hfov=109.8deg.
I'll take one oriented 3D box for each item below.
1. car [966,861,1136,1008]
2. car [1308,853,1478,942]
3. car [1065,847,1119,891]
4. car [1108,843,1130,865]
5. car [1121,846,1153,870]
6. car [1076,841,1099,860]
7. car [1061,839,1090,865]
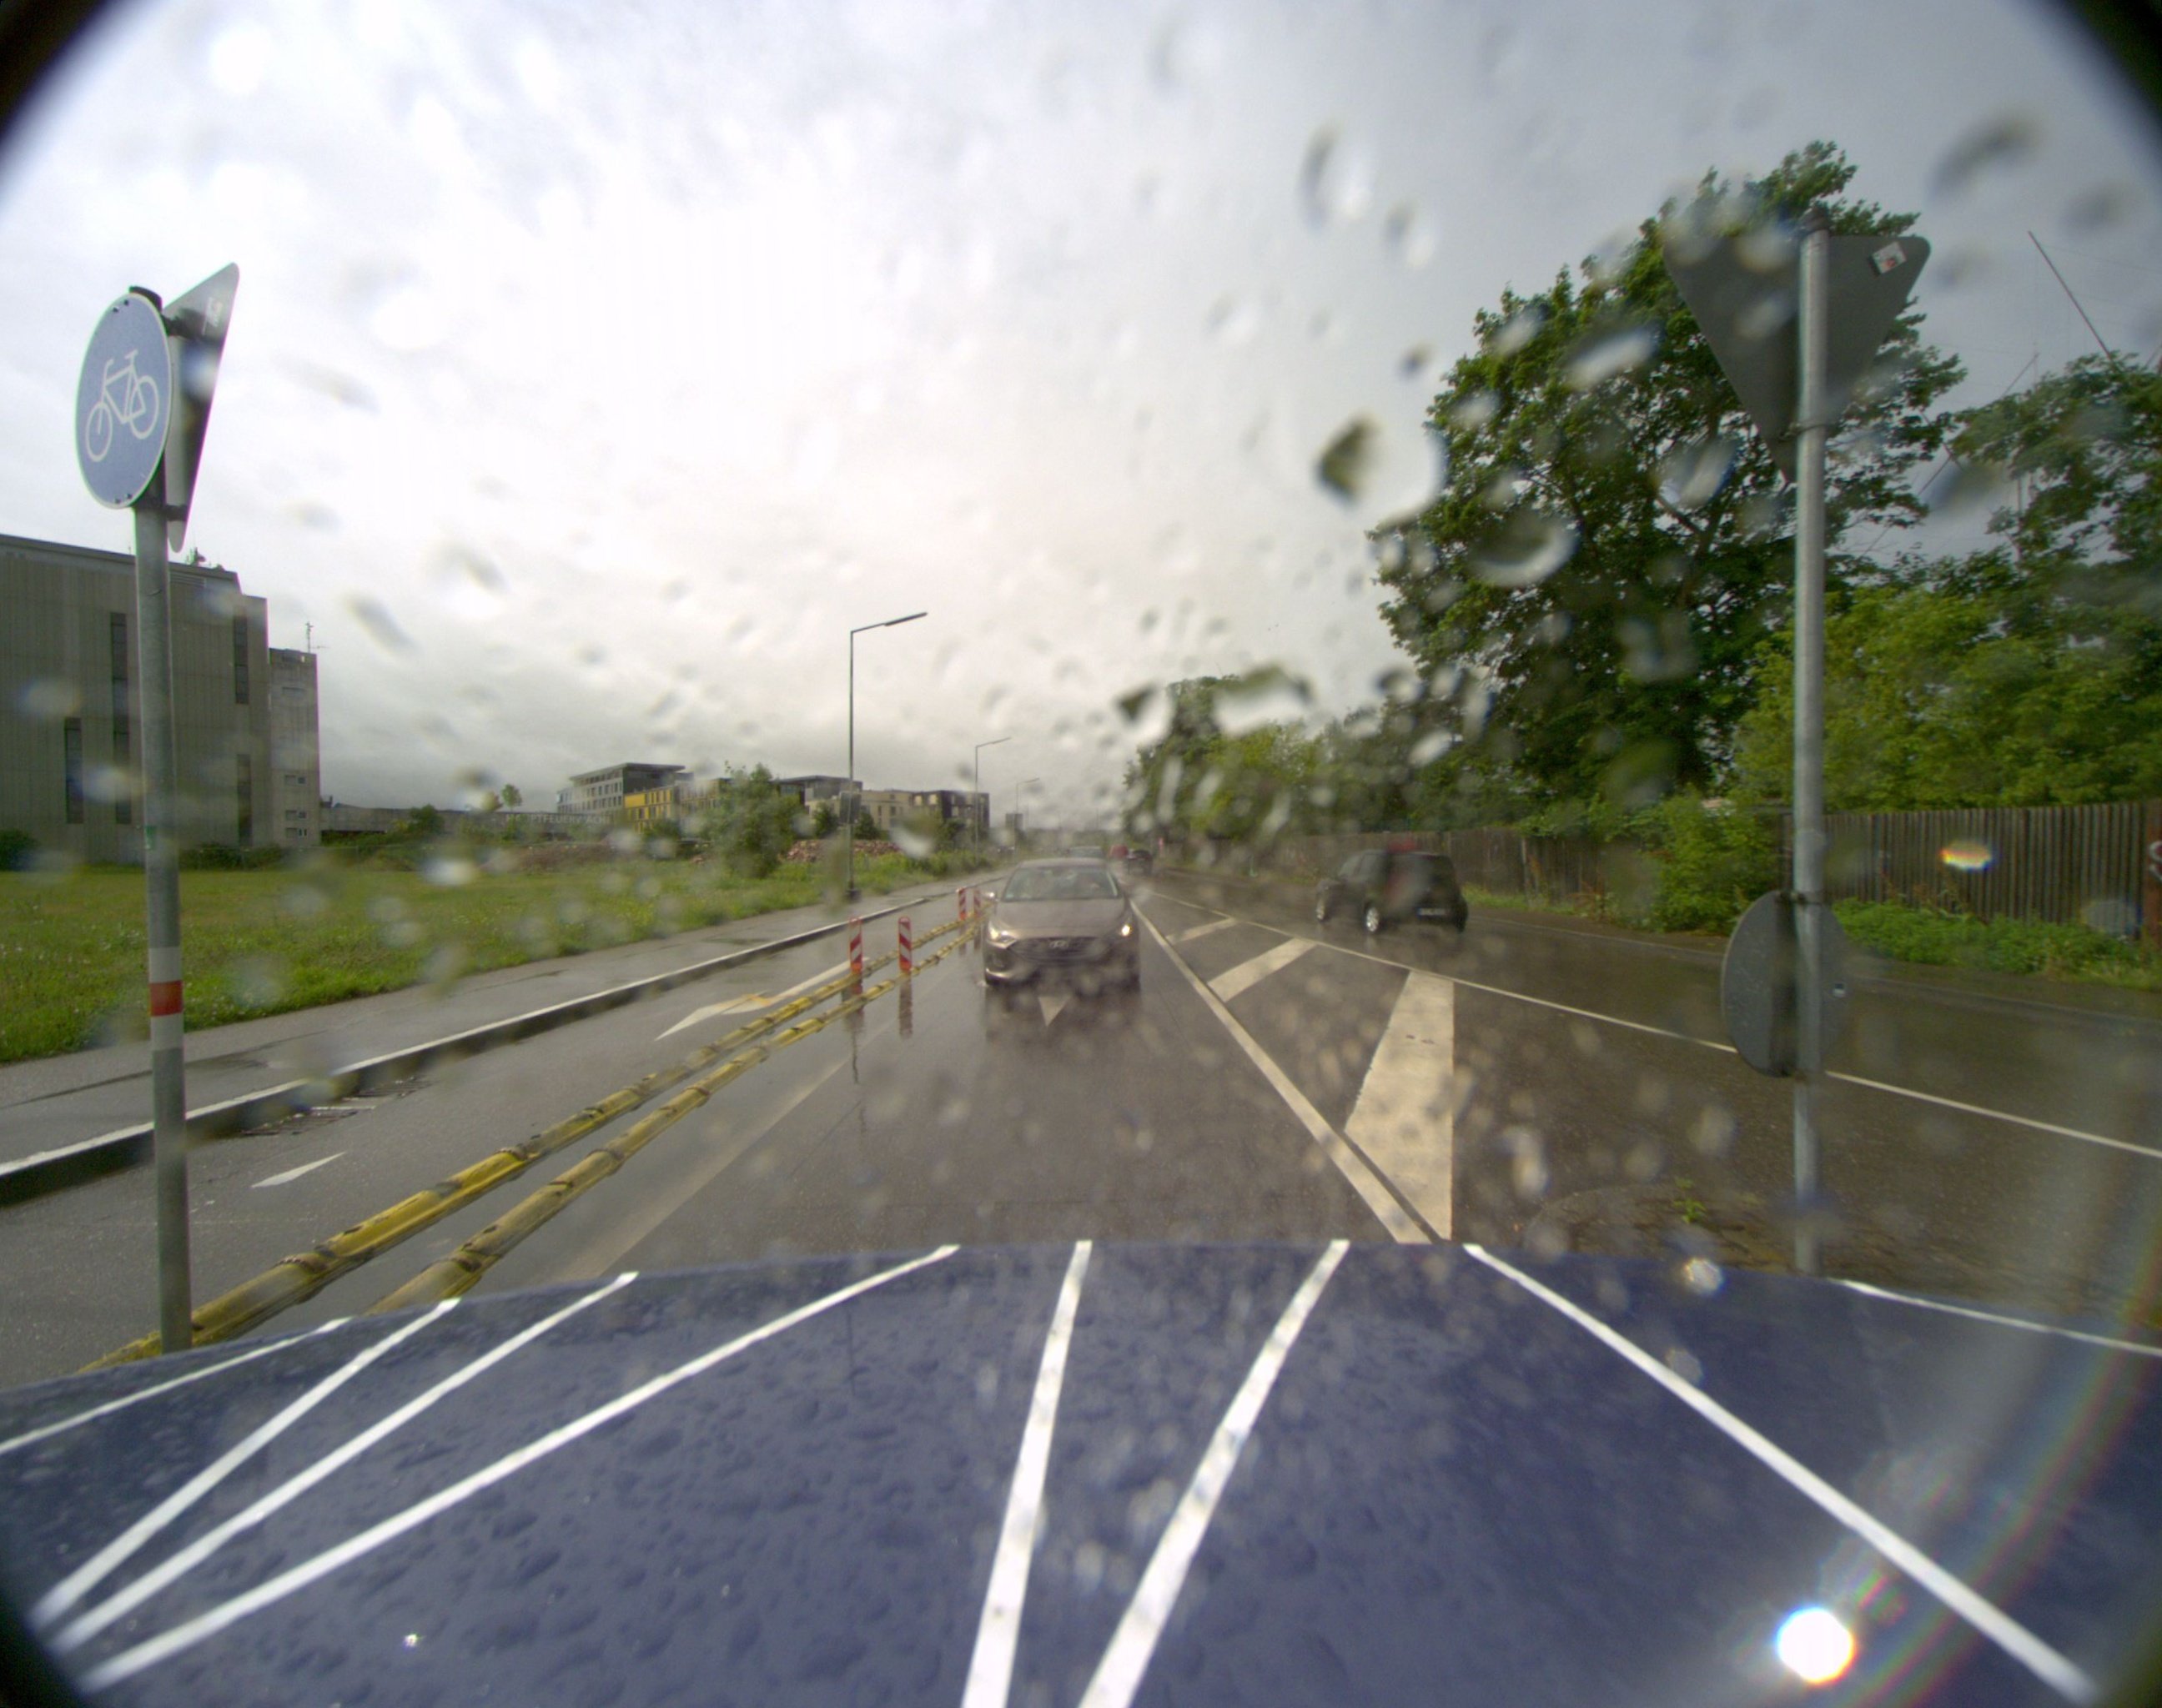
[{"bbox_3d":[-0.208,0.862,9.980,1.734,1.405,4.128,-1,1,3],"label":"car"},{"bbox_3d":[5.894,0.757,14.795,1.633,1.524,3.456,1,0,-5],"label":"car"},{"bbox_3d":[0.529,0.560,31.183,1.874,1.653,4.484,-1,0,4],"label":"car"},{"bbox_3d":[4.124,-0.029,82.773,1.999,2.321,3.999,0,1,-2],"label":"car"},{"bbox_3d":[4.068,0.291,55.816,1.855,1.699,3.998,0,0,-4],"label":"car"},{"bbox_3d":[0.556,-0.303,69.573,1.875,1.653,4.482,-3,0,-2],"label":"car"},{"bbox_3d":[-0.412,-0.153,54.398,1.875,1.653,4.482,-3,0,-2],"label":"car"}]
